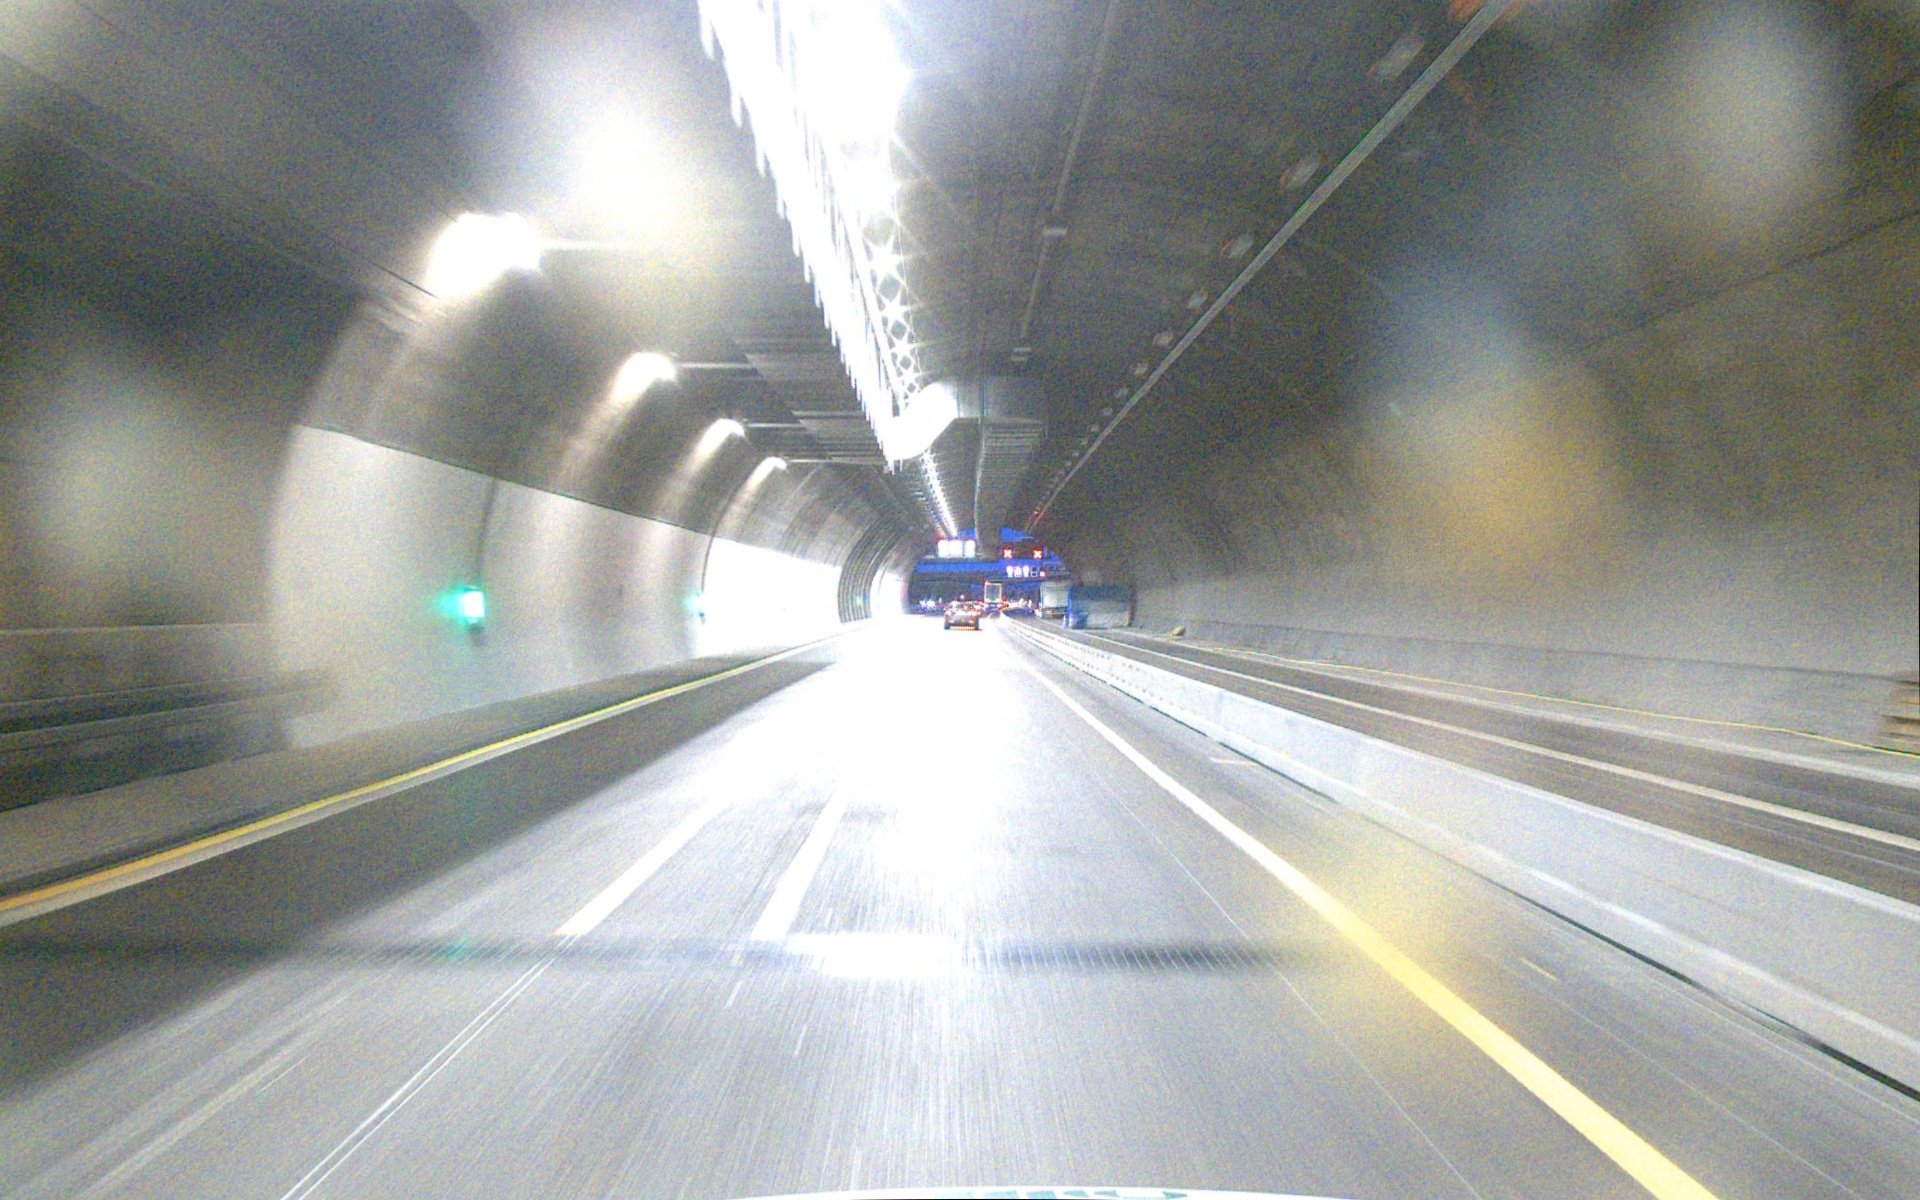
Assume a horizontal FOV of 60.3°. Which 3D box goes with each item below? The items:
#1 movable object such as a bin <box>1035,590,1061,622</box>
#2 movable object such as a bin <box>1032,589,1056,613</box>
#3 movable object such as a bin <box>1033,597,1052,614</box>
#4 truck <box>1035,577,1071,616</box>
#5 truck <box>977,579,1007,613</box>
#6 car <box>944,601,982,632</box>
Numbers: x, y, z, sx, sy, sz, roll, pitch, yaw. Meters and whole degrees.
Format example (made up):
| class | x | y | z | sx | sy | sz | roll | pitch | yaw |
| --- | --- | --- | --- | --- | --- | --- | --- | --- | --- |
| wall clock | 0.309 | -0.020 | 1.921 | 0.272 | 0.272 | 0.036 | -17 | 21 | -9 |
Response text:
| class | x | y | z | sx | sy | sz | roll | pitch | yaw |
| --- | --- | --- | --- | --- | --- | --- | --- | --- | --- |
| movable object such as a bin | 8.228 | 0.567 | 154.889 | 2.192 | 2.843 | 7.233 | 0 | 0 | 1 |
| movable object such as a bin | 9.765 | 0.126 | 191.997 | 2.680 | 2.802 | 7.051 | 0 | 0 | 2 |
| movable object such as a bin | 8.957 | 0.623 | 179.309 | 1.938 | 1.847 | 3.837 | 0 | 0 | 1 |
| truck | 8.201 | -0.289 | 146.353 | 2.833 | 3.329 | 8.401 | 0 | 0 | 1 |
| truck | 4.792 | -0.557 | 251.180 | 4.452 | 5.074 | 9.599 | 0 | 0 | 0 |
| car | 0.149 | 0.868 | 87.578 | 1.850 | 1.635 | 3.998 | 0 | 0 | -2 |
